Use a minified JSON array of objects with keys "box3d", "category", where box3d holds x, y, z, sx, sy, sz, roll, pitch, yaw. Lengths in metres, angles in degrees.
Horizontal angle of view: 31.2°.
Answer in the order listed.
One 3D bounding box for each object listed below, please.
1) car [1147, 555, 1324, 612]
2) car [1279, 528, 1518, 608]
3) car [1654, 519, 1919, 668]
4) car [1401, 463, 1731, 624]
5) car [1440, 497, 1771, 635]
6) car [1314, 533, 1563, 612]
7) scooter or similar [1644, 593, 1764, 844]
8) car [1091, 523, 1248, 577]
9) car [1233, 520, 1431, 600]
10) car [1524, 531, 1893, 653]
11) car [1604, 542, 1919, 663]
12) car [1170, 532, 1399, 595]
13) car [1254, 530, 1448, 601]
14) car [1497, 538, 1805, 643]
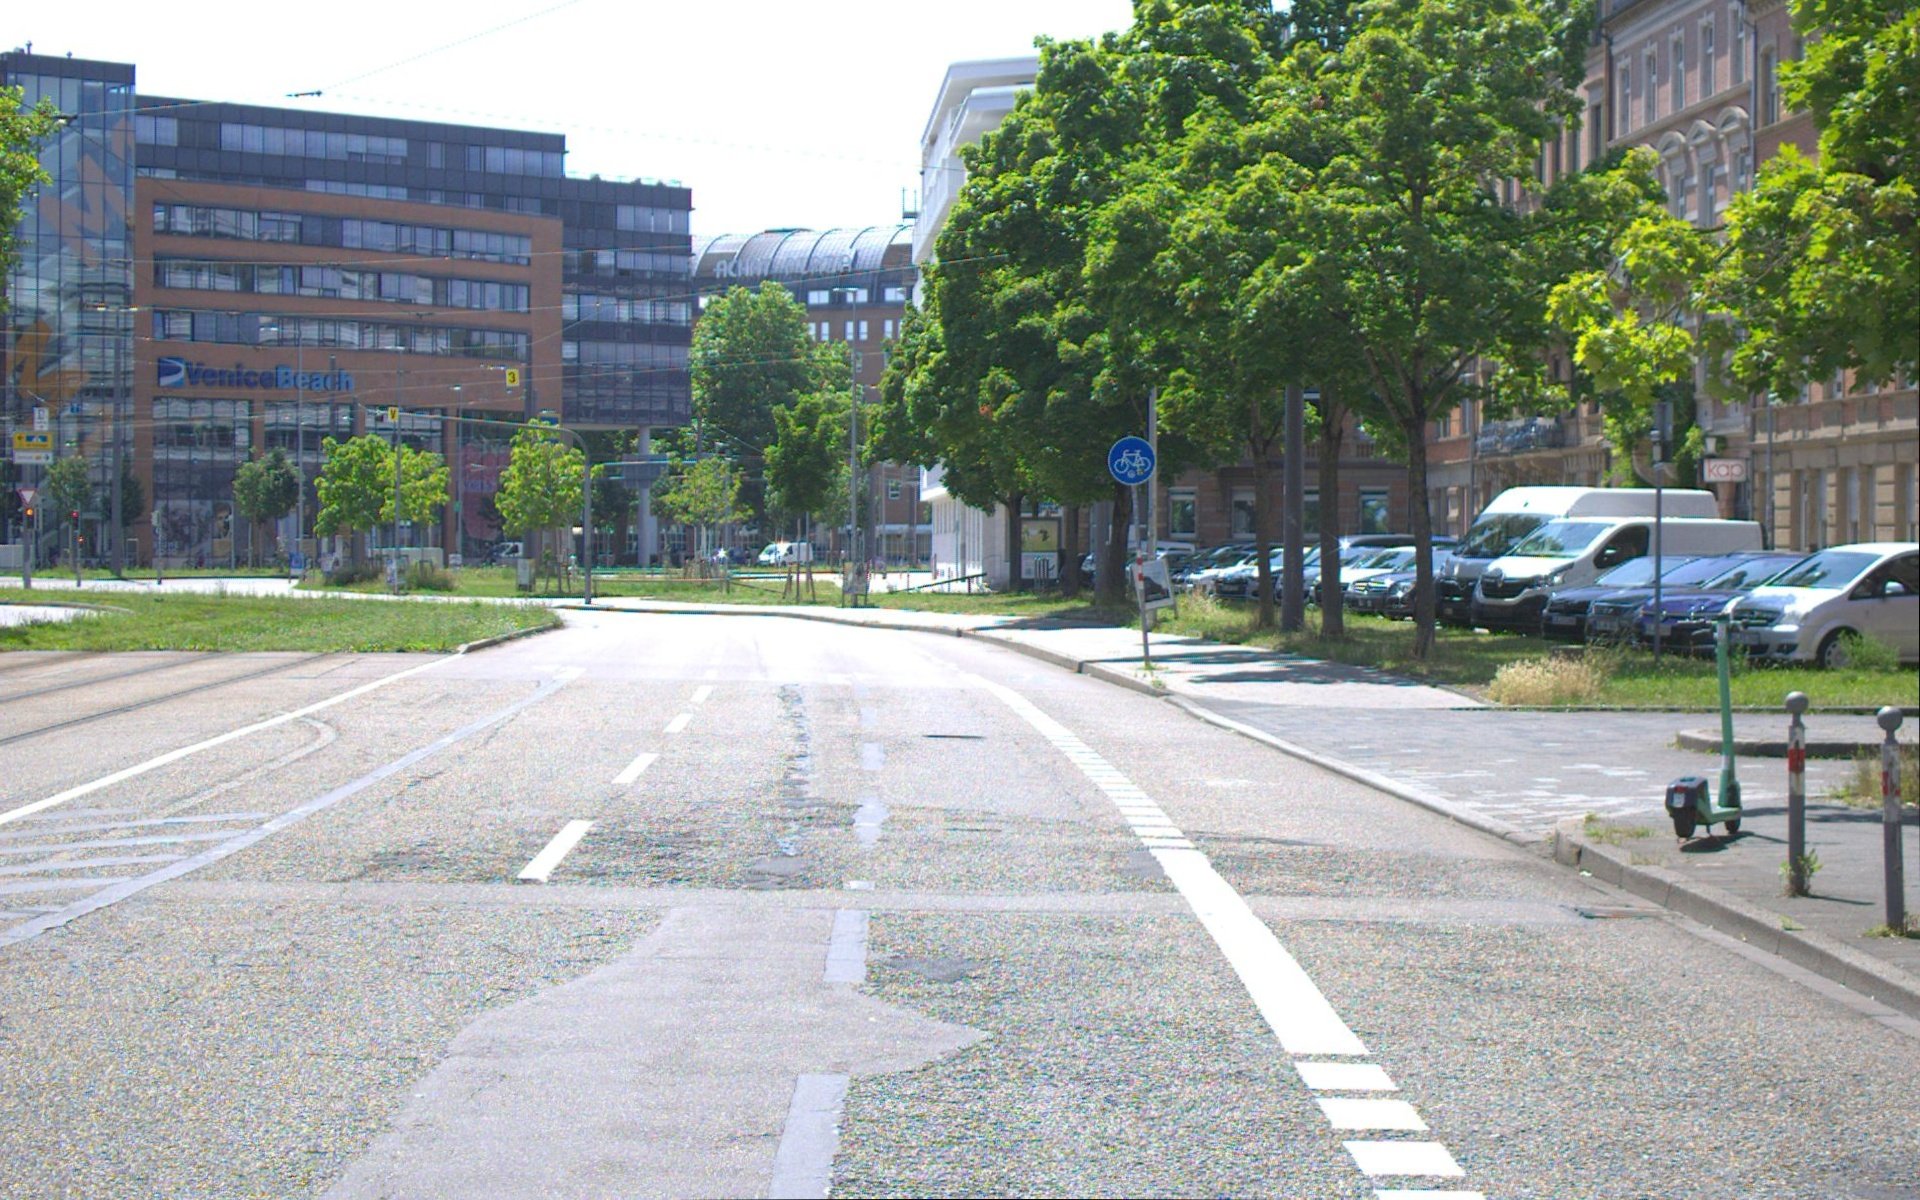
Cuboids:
[{"box3d":[6.962,-0.425,86.937,3.986,1.309,1.973,2,0,-25],"category":"car"},{"box3d":[8.654,-0.613,67.619,4.679,1.422,1.972,1,1,-40],"category":"car"},{"box3d":[10.519,-0.057,40.079,4.397,1.626,2.000,2,0,-25],"category":"car"},{"box3d":[9.987,-0.899,56.405,5.535,2.452,2.237,1,1,-40],"category":"car"},{"box3d":[9.970,-0.515,52.956,4.832,1.966,2.076,1,0,-32],"category":"car"},{"box3d":[8.940,-0.513,64.163,4.418,1.334,1.972,1,1,-35],"category":"car"},{"box3d":[3.888,0.602,17.926,0.391,1.210,1.178,-2,2,21],"category":"scooter or similar"},{"box3d":[6.821,-1.606,111.633,4.858,1.595,1.836,1,0,-30],"category":"car"},{"box3d":[8.353,-0.899,77.157,3.986,1.656,1.972,1,0,-29],"category":"car"},{"box3d":[10.090,-0.104,46.295,4.617,1.492,1.966,2,0,-27],"category":"car"},{"box3d":[10.284,0.035,43.078,3.986,1.395,1.824,2,0,-24],"category":"car"},{"box3d":[7.487,-0.842,79.304,4.771,1.309,2.150,2,0,-25],"category":"car"},{"box3d":[8.442,-0.737,74.087,3.987,1.395,1.712,1,1,-35],"category":"car"},{"box3d":[9.935,-0.136,49.443,3.986,1.382,1.824,2,0,-24],"category":"car"}]
